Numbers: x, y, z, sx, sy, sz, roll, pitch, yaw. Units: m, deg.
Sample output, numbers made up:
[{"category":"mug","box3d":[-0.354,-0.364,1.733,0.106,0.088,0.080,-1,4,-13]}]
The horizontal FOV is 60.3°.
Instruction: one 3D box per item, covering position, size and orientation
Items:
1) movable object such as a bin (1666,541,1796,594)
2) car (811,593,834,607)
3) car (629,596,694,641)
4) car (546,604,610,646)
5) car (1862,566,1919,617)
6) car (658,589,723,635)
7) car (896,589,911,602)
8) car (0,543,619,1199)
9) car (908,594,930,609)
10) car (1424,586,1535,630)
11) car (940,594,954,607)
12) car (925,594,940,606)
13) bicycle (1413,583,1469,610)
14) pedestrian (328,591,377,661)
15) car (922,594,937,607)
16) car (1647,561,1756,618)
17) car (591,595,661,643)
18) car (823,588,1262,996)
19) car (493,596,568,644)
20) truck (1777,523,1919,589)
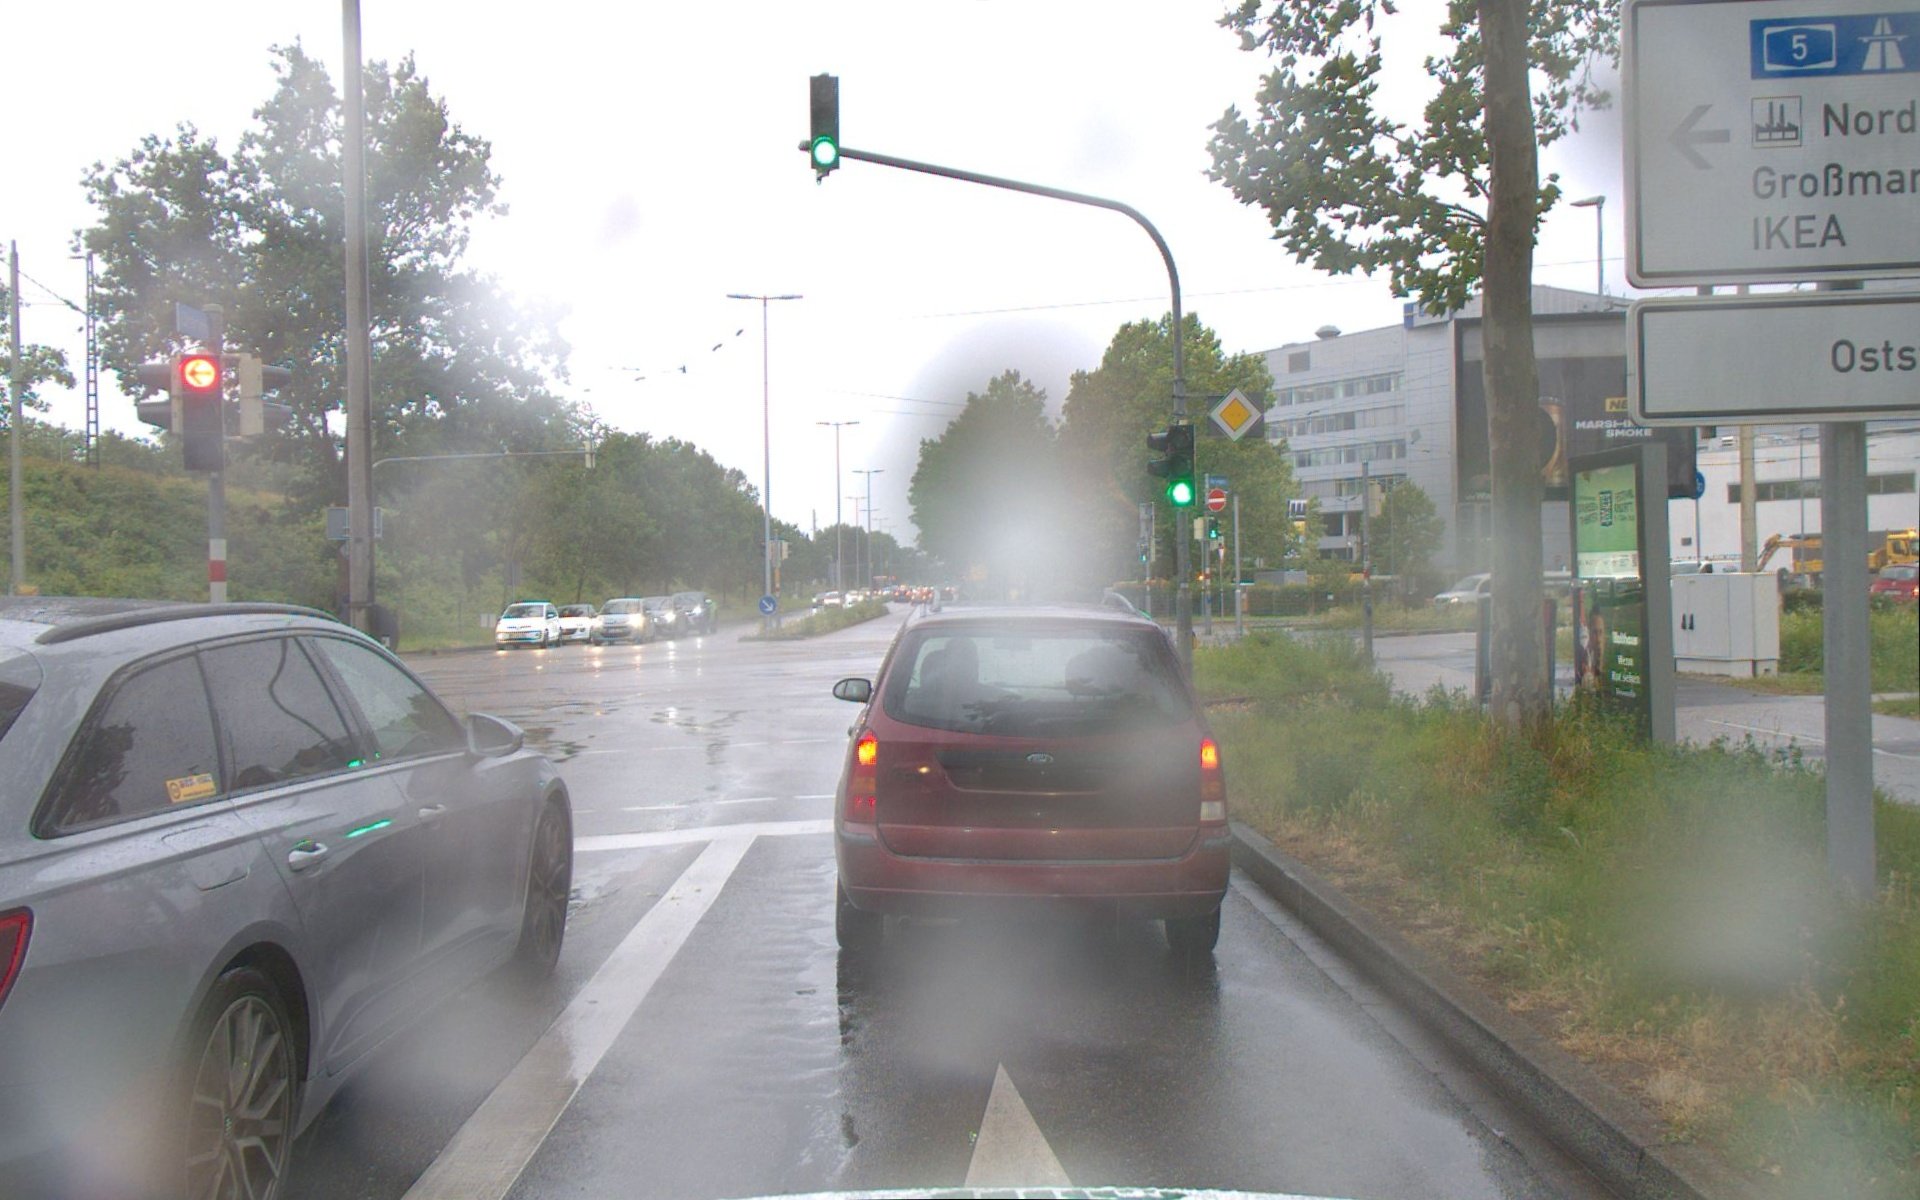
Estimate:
[{"category":"movable object such as a bin","box3d":[48.339,-2.011,103.901,3.292,3.048,6.634,-2,0,-36]},{"category":"car","box3d":[-15.193,-0.018,182.461,2.050,1.554,4.193,-1,0,2]},{"category":"car","box3d":[-11.336,0.690,63.038,1.727,1.614,4.811,-2,0,-2]},{"category":"car","box3d":[-14.066,0.889,61.062,1.558,1.428,3.822,-2,0,-2]},{"category":"car","box3d":[29.482,-0.262,50.663,3.768,1.517,1.660,0,0,-33]},{"category":"car","box3d":[-11.557,0.482,71.205,2.024,1.851,5.539,-2,0,-2]},{"category":"car","box3d":[-6.890,-0.546,202.399,1.663,1.554,3.846,-1,0,1]},{"category":"car","box3d":[-2.292,0.690,4.758,1.733,1.601,4.819,1,0,-2]},{"category":"car","box3d":[-4.495,0.149,181.191,2.103,1.554,4.193,-1,0,1]},{"category":"car","box3d":[21.041,0.320,66.943,4.170,1.756,1.730,0,0,-22]},{"category":"car","box3d":[-1.599,0.040,205.651,1.637,1.554,3.846,-1,0,1]},{"category":"car","box3d":[-3.833,-0.008,230.400,1.636,1.554,3.847,-1,0,4]},{"category":"bicycle","box3d":[20.836,-0.147,71.593,2.258,1.064,0.849,-2,0,19]},{"category":"pedestrian","box3d":[-16.652,0.699,45.343,1.083,1.879,1.127,-1,0,-13]},{"category":"car","box3d":[-3.586,0.051,194.056,1.663,1.554,3.846,-1,0,0]},{"category":"car","box3d":[29.281,-0.414,65.245,4.641,2.162,1.973,-1,0,-38]},{"category":"car","box3d":[-11.230,0.602,55.883,1.605,1.499,3.964,-2,0,-1]},{"category":"car","box3d":[0.253,0.705,7.994,1.609,1.490,3.731,1,0,-2]},{"category":"car","box3d":[-14.165,0.628,54.733,1.605,1.478,3.785,-2,0,-3]},{"category":"truck","box3d":[52.793,-2.566,97.292,3.291,3.568,7.789,-2,0,-36]}]
